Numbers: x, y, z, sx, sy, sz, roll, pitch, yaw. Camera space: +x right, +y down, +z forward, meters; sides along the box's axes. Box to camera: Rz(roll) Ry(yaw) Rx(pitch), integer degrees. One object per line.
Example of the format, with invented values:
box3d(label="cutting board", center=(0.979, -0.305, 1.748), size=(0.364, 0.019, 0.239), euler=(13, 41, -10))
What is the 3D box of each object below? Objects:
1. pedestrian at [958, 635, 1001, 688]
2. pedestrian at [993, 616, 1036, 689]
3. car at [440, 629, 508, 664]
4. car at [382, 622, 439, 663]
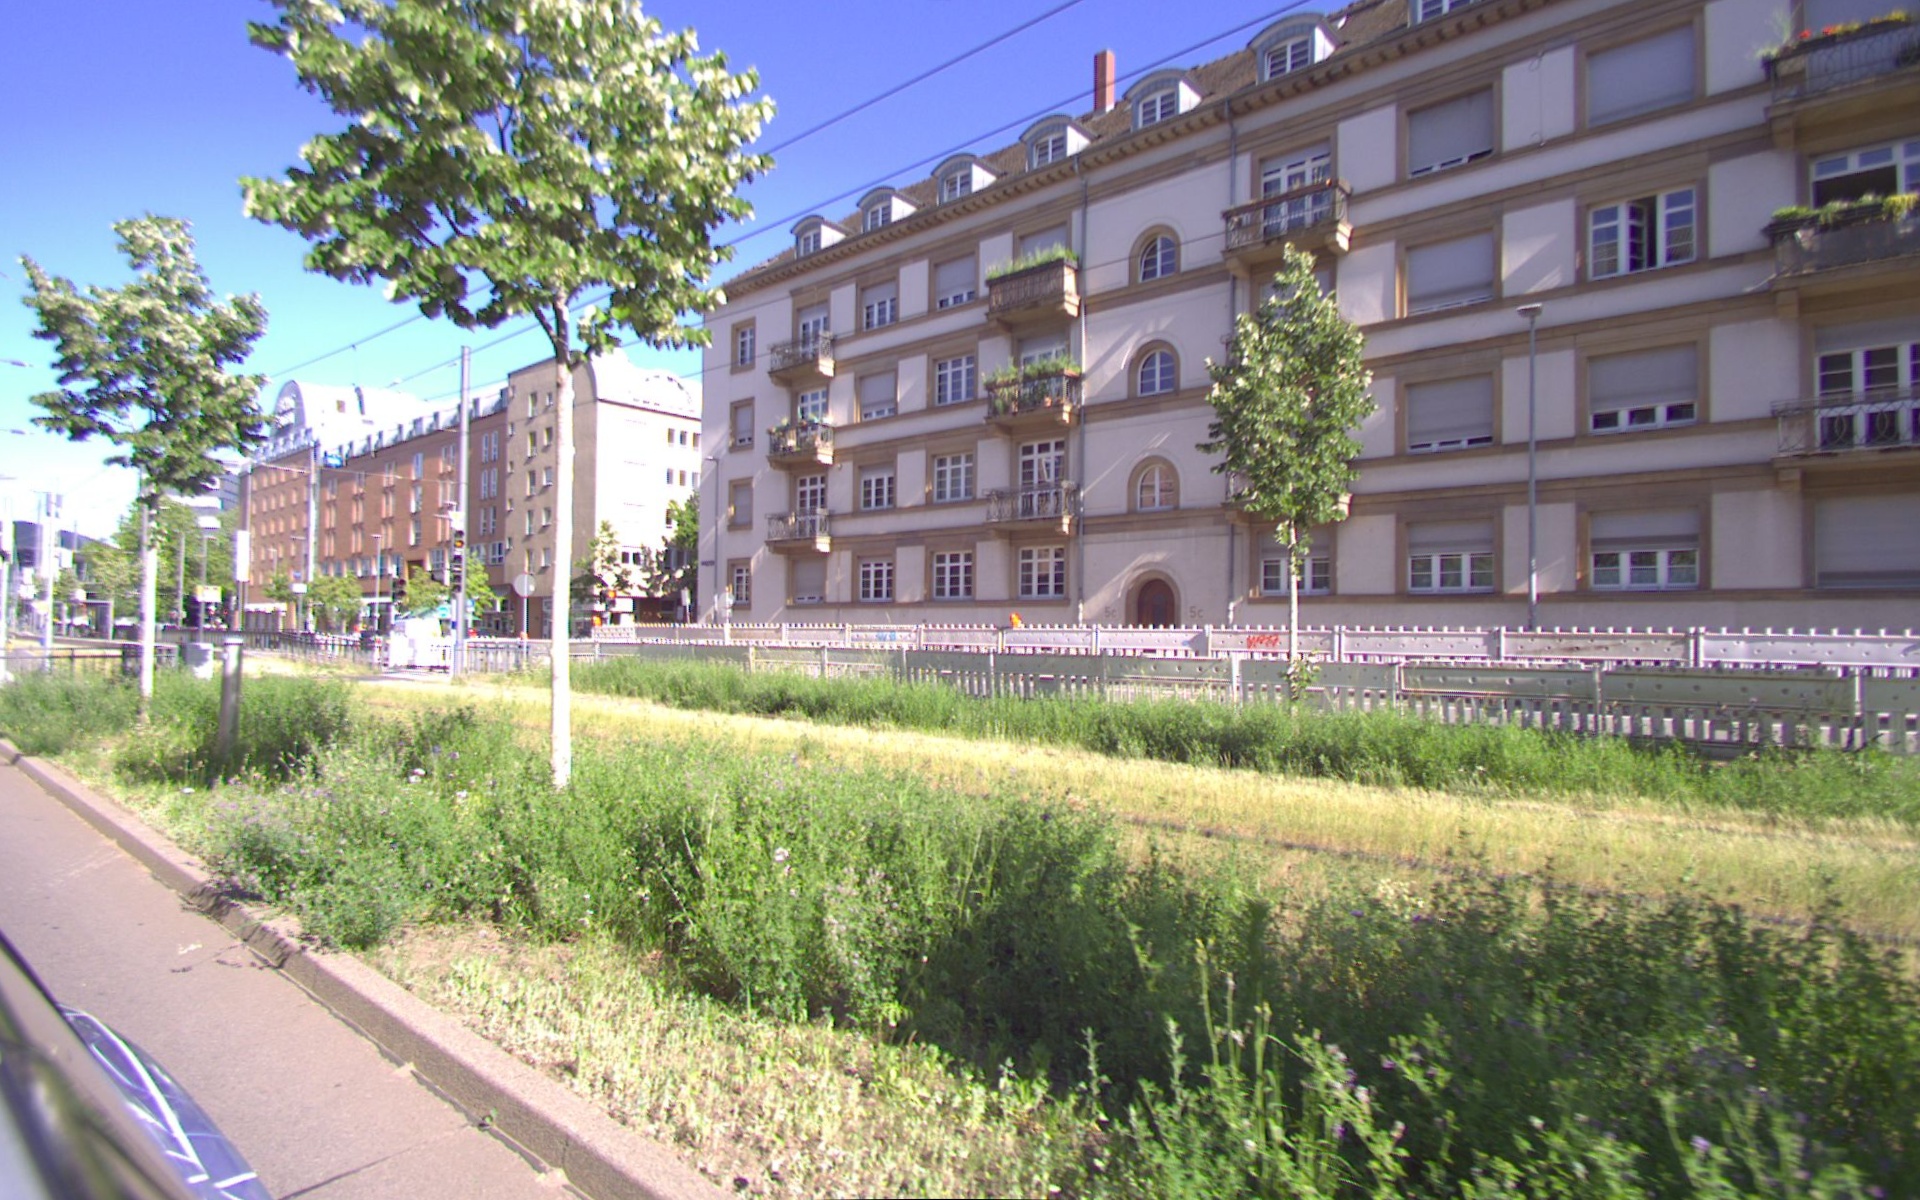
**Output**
box3d(label="pedestrian", center=(0.580, 1.807, 29.972), size=(1.020, 1.529, 0.778), euler=(0, -1, 41))
box3d(label="pedestrian", center=(1.451, 1.373, 26.828), size=(0.871, 1.877, 0.758), euler=(0, -1, 41))
box3d(label="car", center=(-25.429, 2.401, 52.921), size=(3.996, 1.652, 1.677), euler=(0, -1, 39))
box3d(label="car", center=(-33.159, 2.484, 61.004), size=(1.969, 2.314, 5.197), euler=(1, -1, -41))
